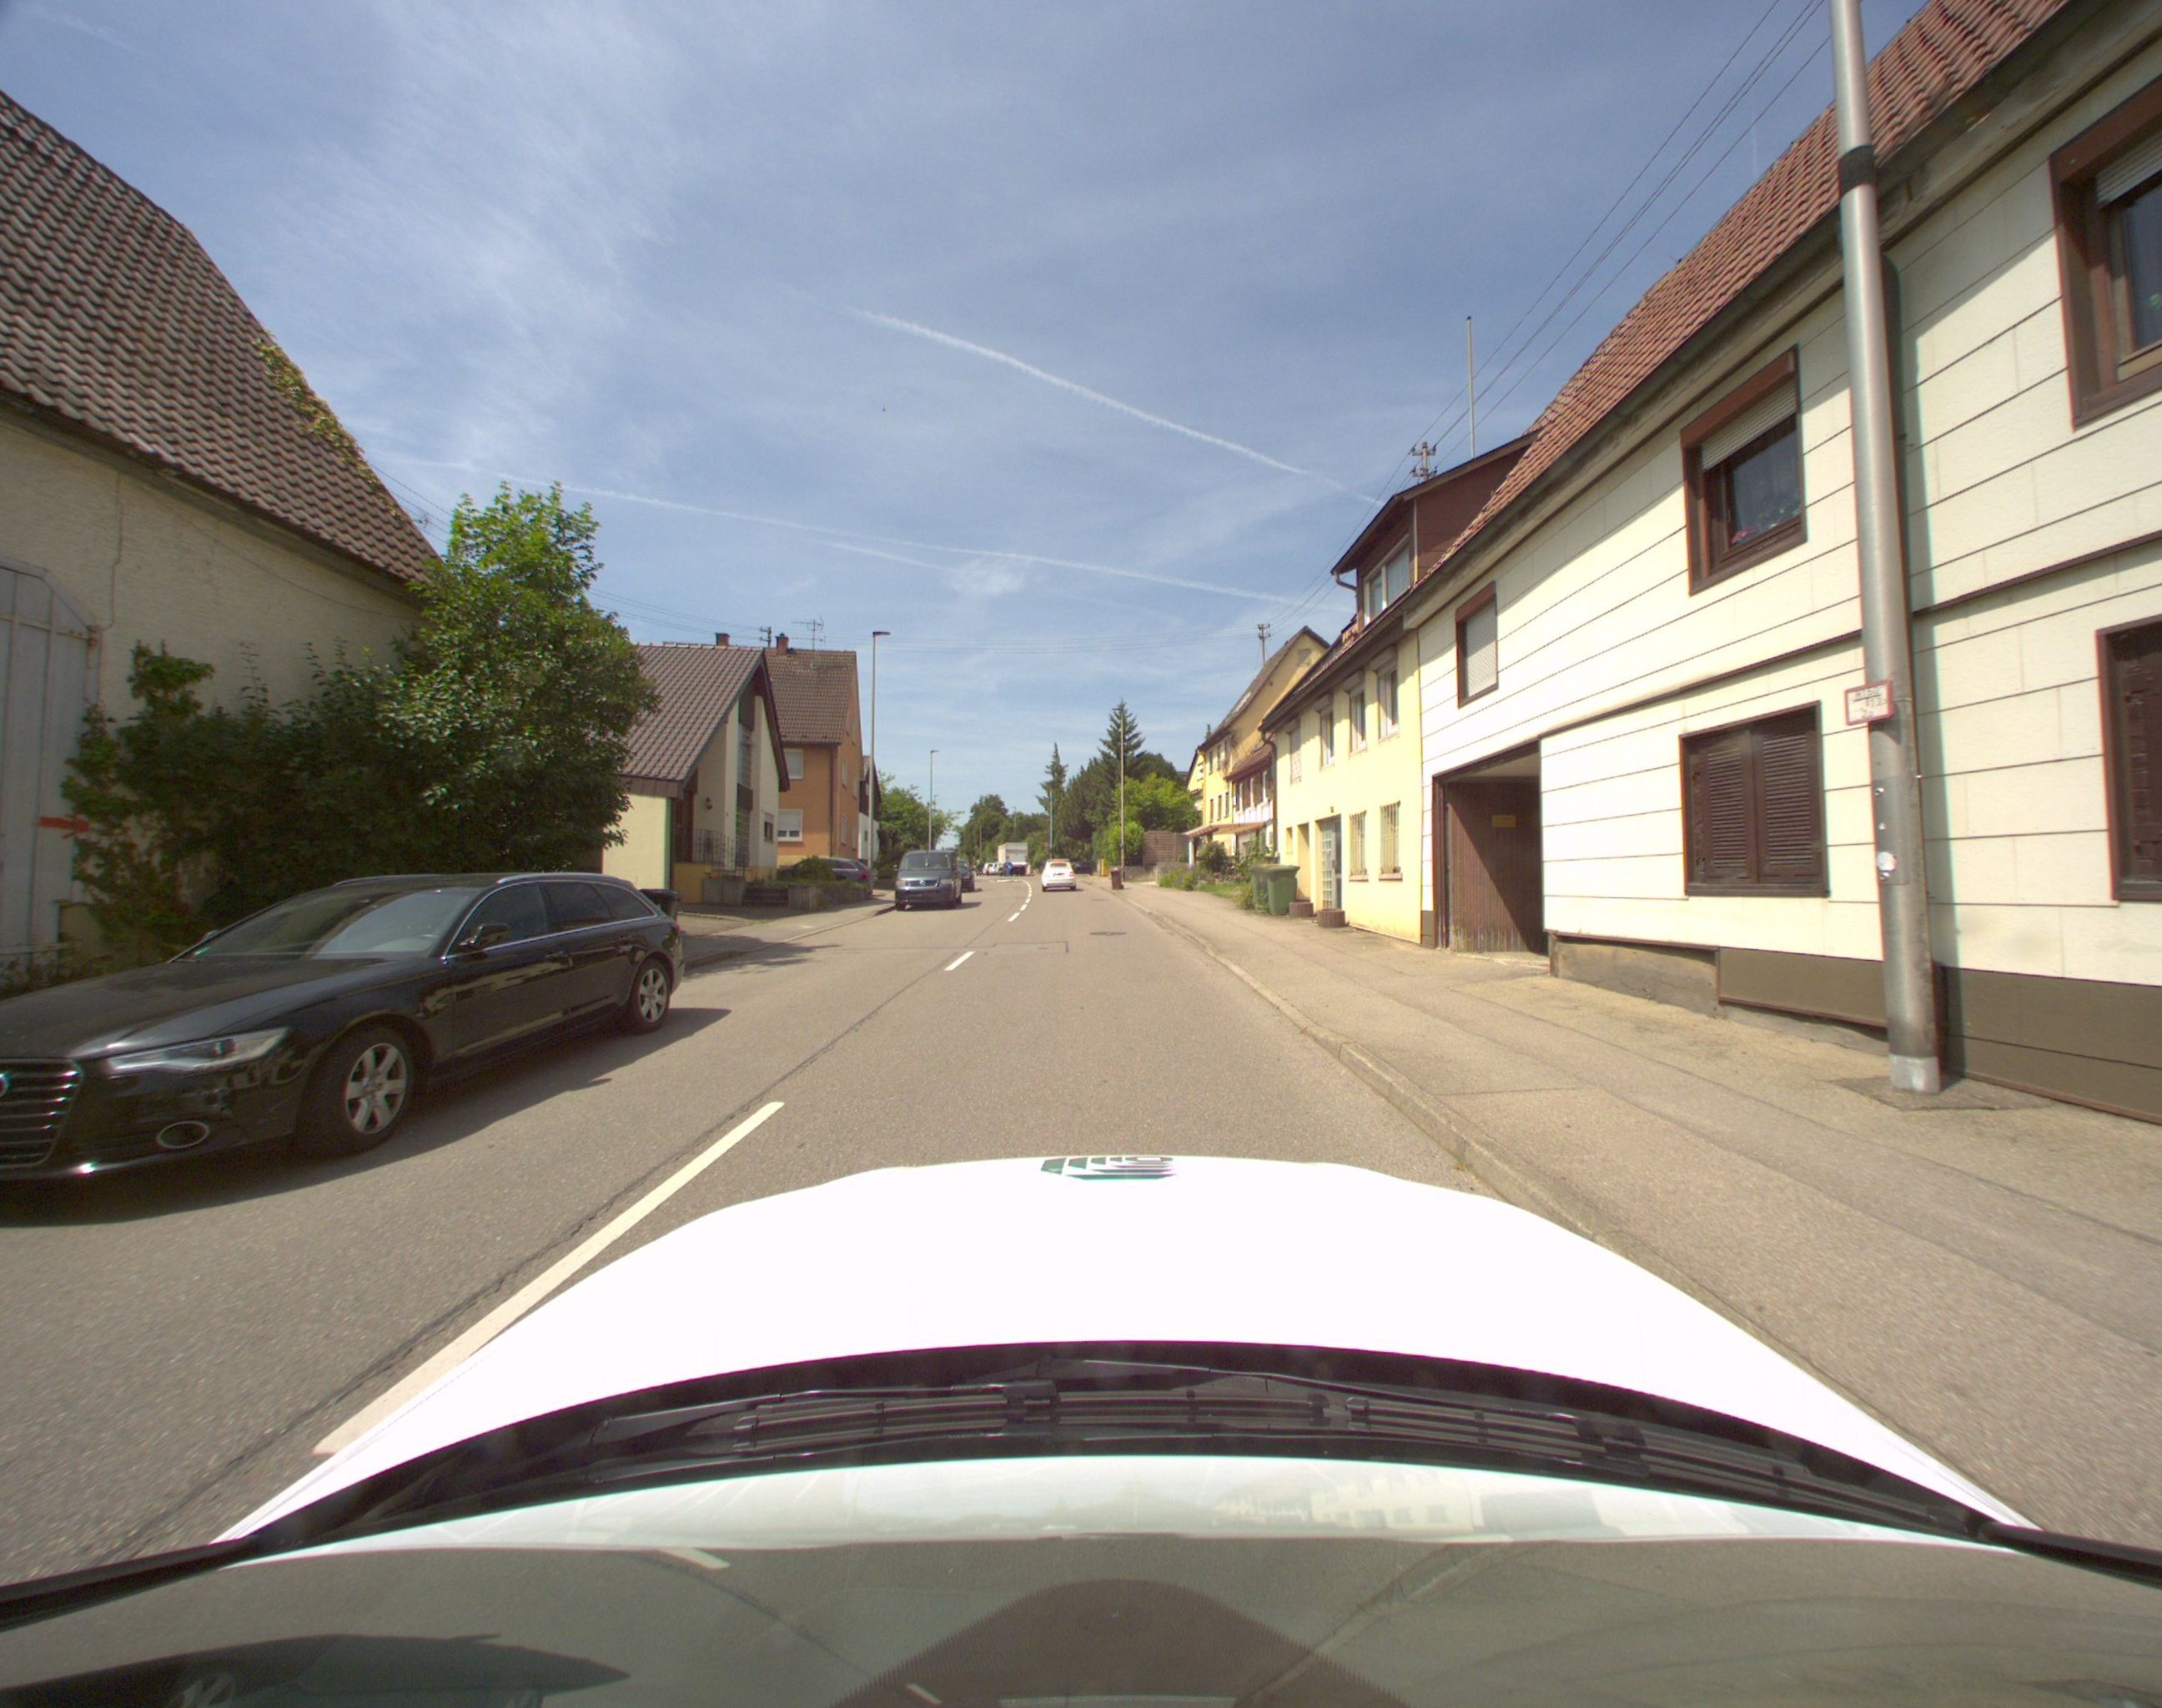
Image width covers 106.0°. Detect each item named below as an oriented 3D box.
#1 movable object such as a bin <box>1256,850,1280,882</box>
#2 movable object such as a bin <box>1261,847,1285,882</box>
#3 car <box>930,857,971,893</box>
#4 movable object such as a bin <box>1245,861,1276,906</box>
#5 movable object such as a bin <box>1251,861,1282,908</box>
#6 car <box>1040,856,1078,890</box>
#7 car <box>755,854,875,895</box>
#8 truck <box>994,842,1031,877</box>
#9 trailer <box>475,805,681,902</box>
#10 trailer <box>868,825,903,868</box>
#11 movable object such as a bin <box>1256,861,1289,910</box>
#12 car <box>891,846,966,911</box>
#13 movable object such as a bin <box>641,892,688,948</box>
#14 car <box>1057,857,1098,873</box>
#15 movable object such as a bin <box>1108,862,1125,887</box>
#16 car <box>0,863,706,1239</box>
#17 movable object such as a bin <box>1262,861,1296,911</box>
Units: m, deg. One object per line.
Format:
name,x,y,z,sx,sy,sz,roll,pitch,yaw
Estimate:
movable object such as a bin,6.583,0.416,28.679,0.534,1.057,0.548,-7,0,-6
movable object such as a bin,6.622,0.360,28.079,0.534,1.157,0.548,-7,0,-6
car,-6.427,1.024,40.600,1.767,1.636,4.277,-2,0,-6
movable object such as a bin,4.313,0.709,19.575,0.545,1.033,0.551,-4,0,-1
movable object such as a bin,4.322,0.709,18.992,0.545,1.033,0.551,-4,0,-1
car,-1.119,0.909,39.866,1.721,1.560,3.995,-1,-1,-3
car,-10.559,0.815,32.613,4.227,1.405,1.816,3,-1,-9
truck,-7.997,0.704,94.269,3.073,3.774,7.829,-1,-1,-14
trailer,-12.793,0.010,20.954,3.825,2.014,1.996,6,-1,-5
trailer,-13.638,-0.435,57.055,1.711,2.848,6.158,0,-1,-7
movable object such as a bin,4.325,0.705,18.413,0.545,1.033,0.551,-4,0,-1
car,-5.071,0.781,27.709,1.887,1.937,4.978,-2,-1,-4
movable object such as a bin,-6.966,1.092,13.638,0.500,0.902,0.584,1,-1,-6
car,-0.367,1.128,80.500,3.931,1.458,1.654,-1,-1,-9
movable object such as a bin,1.558,0.907,35.680,0.490,1.033,0.551,-5,-1,20
car,-4.666,0.861,5.762,1.813,1.473,4.774,-1,0,-1
movable object such as a bin,4.329,0.698,17.826,0.545,1.033,0.551,-4,0,-1
